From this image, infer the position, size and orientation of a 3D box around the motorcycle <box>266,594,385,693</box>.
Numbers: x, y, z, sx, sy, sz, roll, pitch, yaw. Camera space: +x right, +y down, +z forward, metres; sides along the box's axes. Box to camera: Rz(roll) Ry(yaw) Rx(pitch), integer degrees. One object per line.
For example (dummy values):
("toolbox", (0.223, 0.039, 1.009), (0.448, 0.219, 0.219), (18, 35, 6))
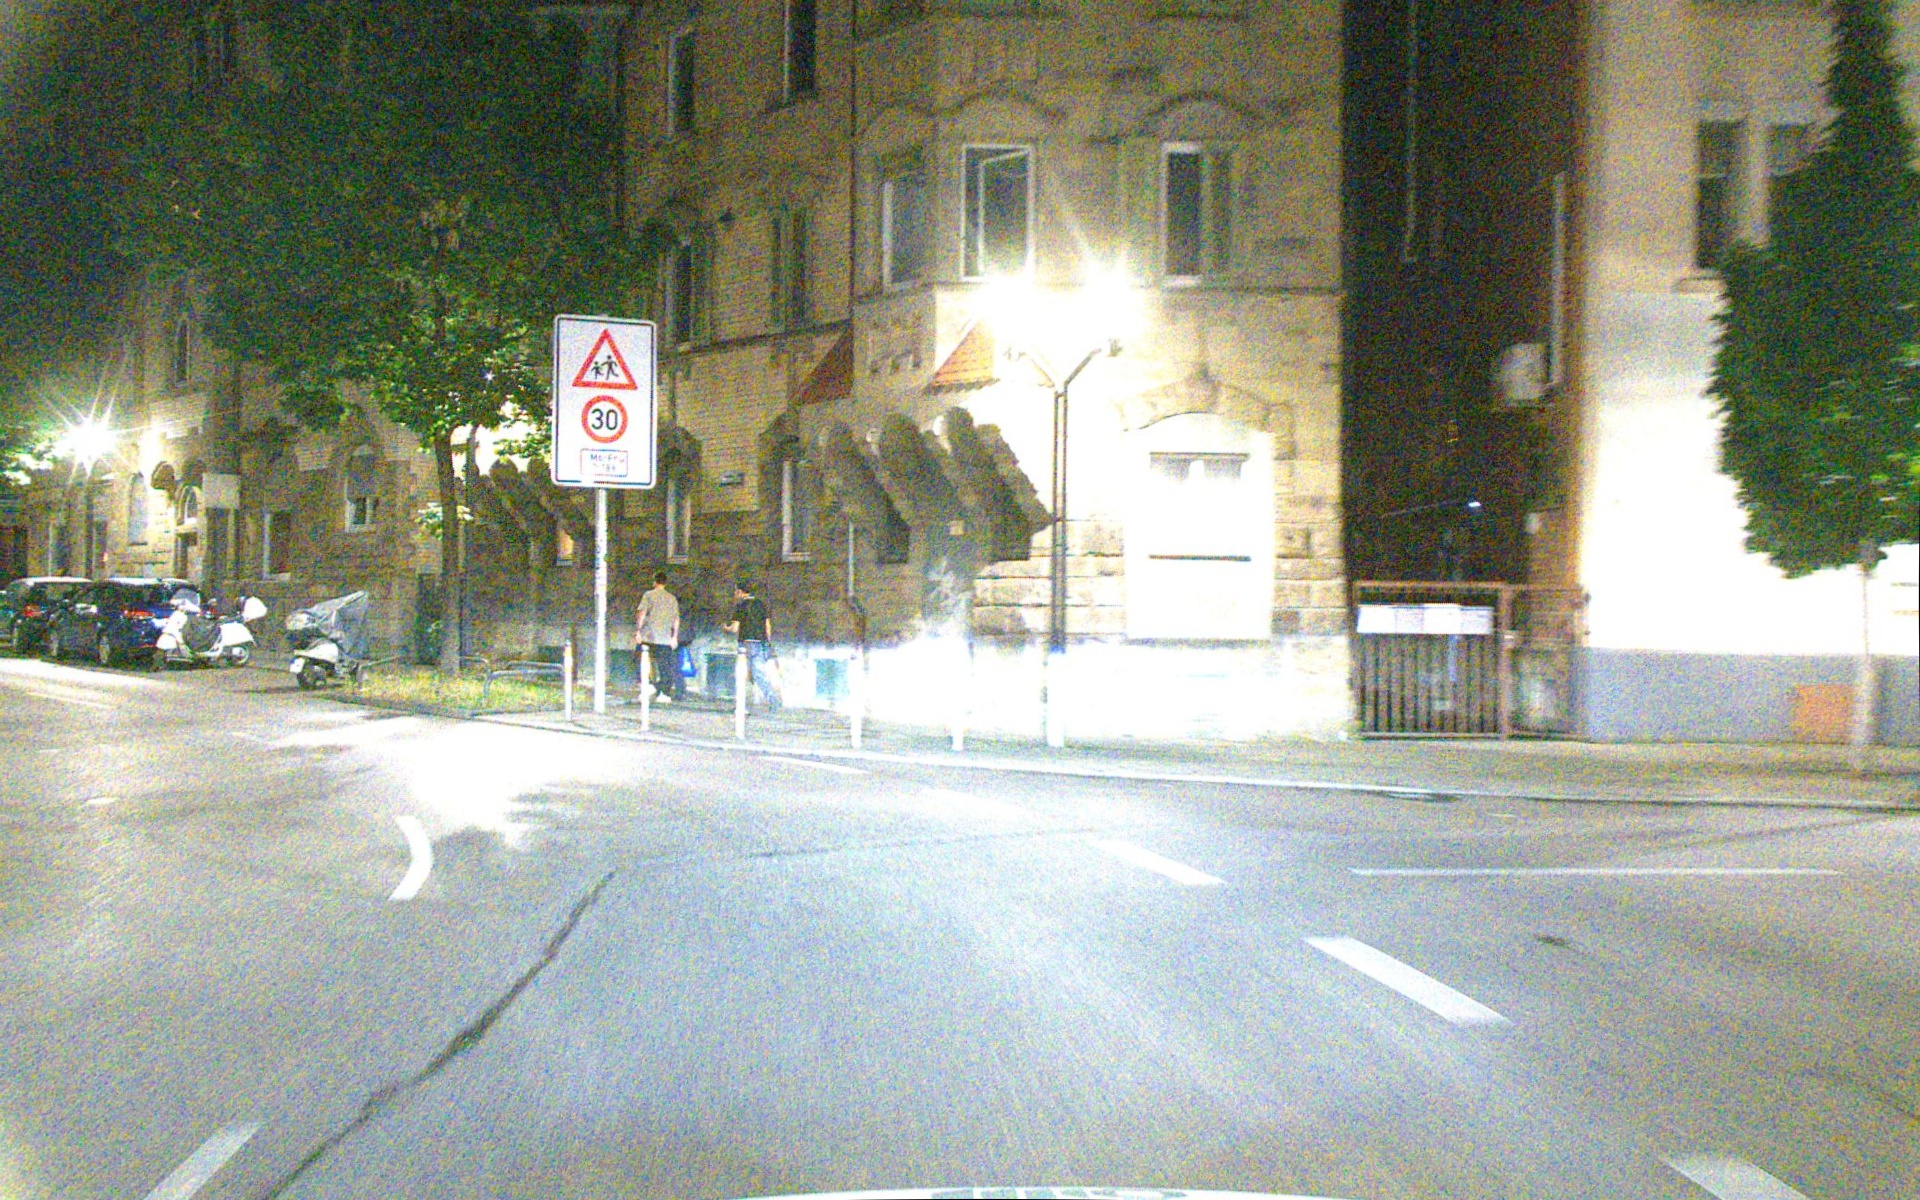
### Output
("motorcycle", (-9.278, 0.613, 24.278), (0.744, 1.377, 1.946), (1, 0, 9))

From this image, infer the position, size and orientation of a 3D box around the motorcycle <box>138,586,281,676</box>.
("motorcycle", (-12.734, 0.498, 28.107), (0.906, 1.430, 2.052), (1, 2, 35))

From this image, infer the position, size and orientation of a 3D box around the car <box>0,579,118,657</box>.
("car", (-18.593, 0.329, 33.473), (1.728, 1.479, 3.936), (1, 0, -43))

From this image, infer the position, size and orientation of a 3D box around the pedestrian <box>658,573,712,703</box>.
("pedestrian", (-3.747, 0.508, 22.527), (0.474, 1.739, 0.561), (1, 0, -45))

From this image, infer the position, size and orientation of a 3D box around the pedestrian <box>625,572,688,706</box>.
("pedestrian", (-4.020, 0.503, 21.912), (0.505, 1.739, 0.693), (1, 0, -45))

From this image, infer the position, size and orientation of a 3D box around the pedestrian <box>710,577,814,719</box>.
("pedestrian", (-2.395, 0.567, 19.991), (0.949, 1.659, 0.805), (1, -1, 41))

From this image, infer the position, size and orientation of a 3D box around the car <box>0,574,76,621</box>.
("car", (-30.251, -0.059, 51.987), (1.819, 1.447, 4.002), (-1, -1, 42))

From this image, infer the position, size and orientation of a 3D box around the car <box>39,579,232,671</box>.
("car", (-14.910, 0.409, 29.805), (4.390, 1.527, 1.726), (1, 0, 43))
